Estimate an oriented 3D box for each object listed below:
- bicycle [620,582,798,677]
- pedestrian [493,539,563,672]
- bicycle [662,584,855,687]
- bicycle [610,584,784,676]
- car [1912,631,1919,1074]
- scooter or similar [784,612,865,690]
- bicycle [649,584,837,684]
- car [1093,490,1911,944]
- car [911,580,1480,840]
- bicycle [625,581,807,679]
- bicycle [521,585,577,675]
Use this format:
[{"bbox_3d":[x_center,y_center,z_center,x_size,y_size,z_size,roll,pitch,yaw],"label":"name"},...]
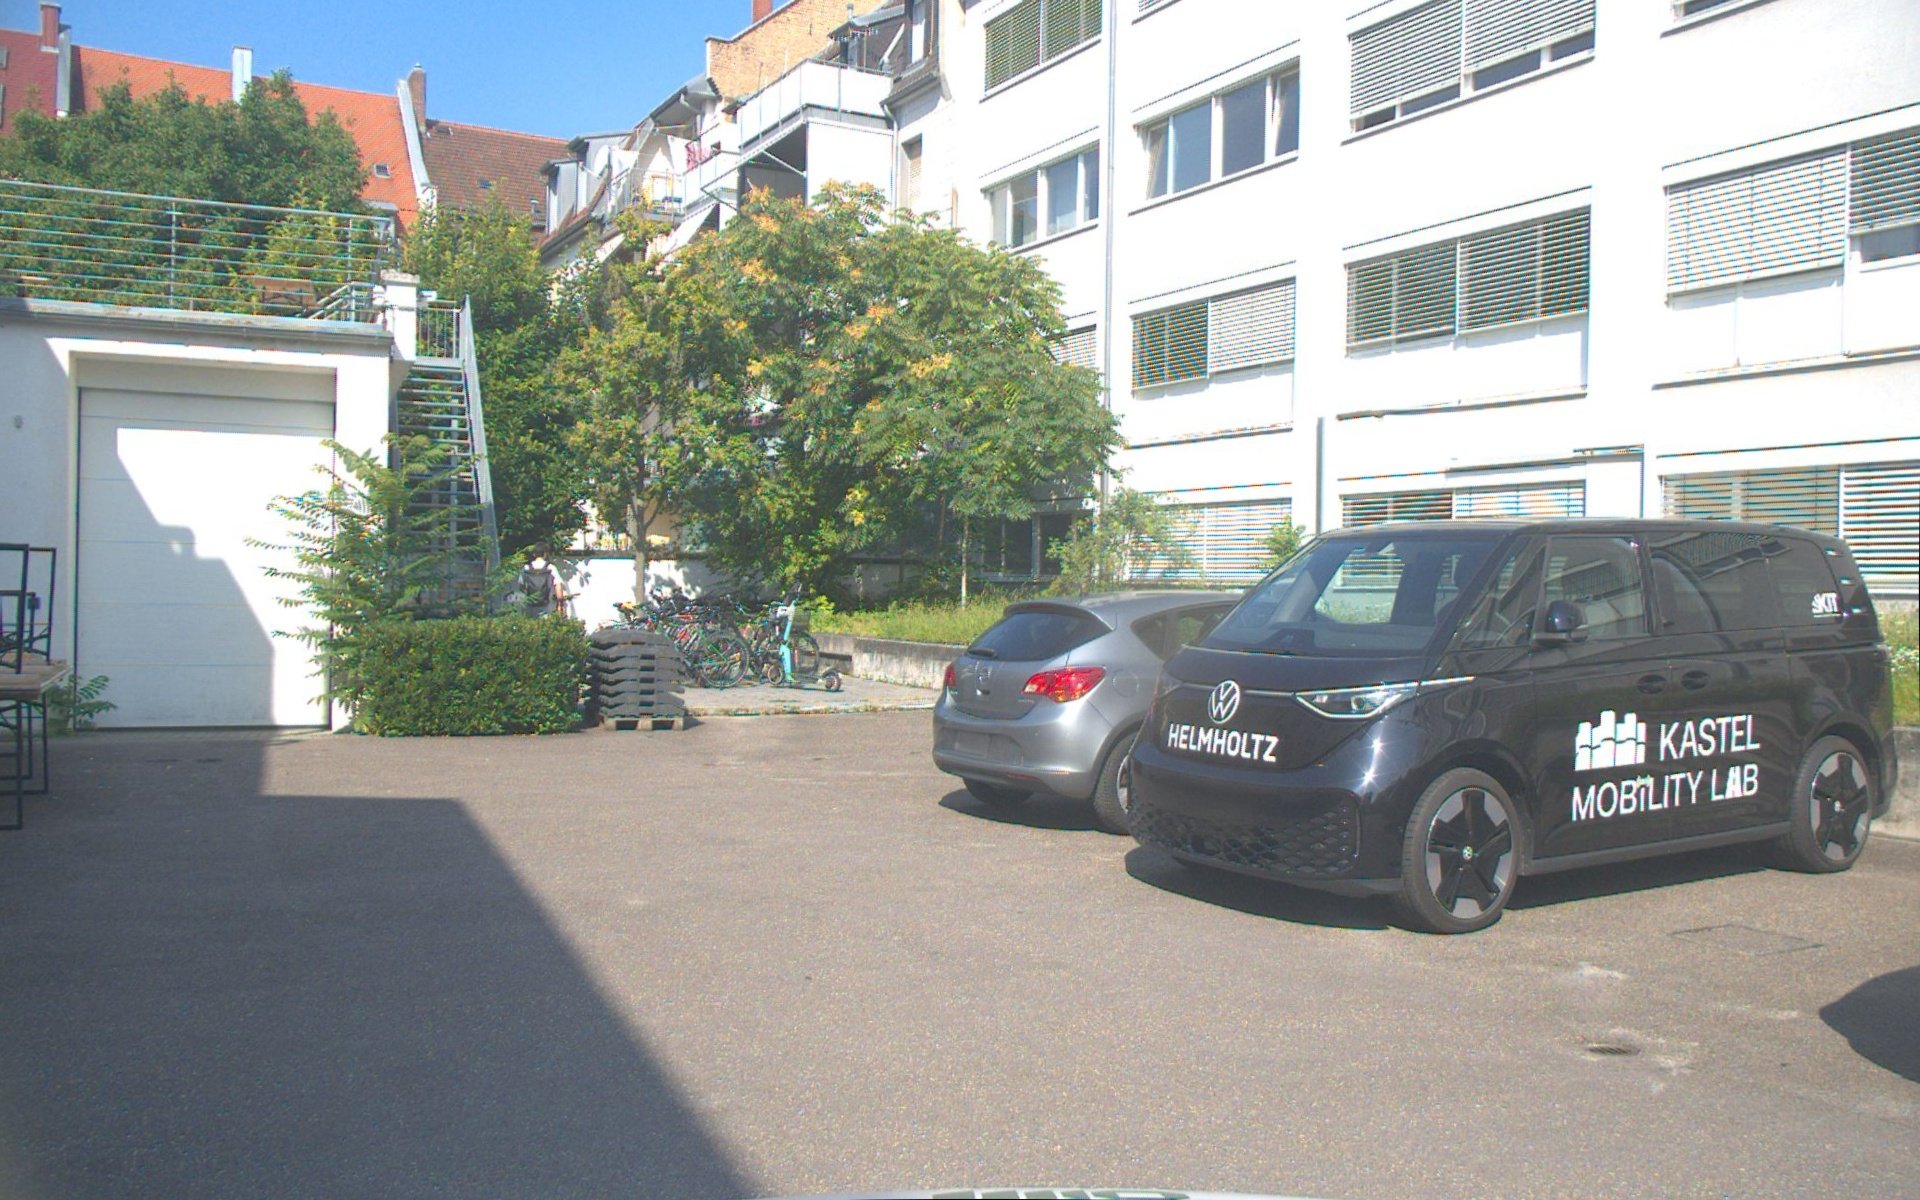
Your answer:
[{"bbox_3d":[-3.484,0.417,23.067,2.378,1.268,0.523,1,0,-23],"label":"bicycle"},{"bbox_3d":[-6.002,0.079,22.978,0.846,1.802,0.607,1,0,-21],"label":"pedestrian"},{"bbox_3d":[-2.563,0.459,21.156,2.378,1.268,0.523,1,0,-23],"label":"bicycle"},{"bbox_3d":[-3.751,0.432,23.683,2.378,1.268,0.523,1,0,-23],"label":"bicycle"},{"bbox_3d":[5.141,0.732,5.149,4.178,1.462,1.678,0,1,-25],"label":"car"},{"bbox_3d":[-1.731,0.636,21.048,0.978,0.940,0.359,2,0,30],"label":"scooter or similar"},{"bbox_3d":[-2.842,0.458,21.773,2.378,1.268,0.523,1,0,-23],"label":"bicycle"},{"bbox_3d":[2.994,0.465,8.869,4.294,1.891,1.894,0,1,-33],"label":"car"},{"bbox_3d":[1.708,0.628,11.434,3.866,1.491,1.642,0,1,-36],"label":"car"},{"bbox_3d":[-3.302,0.414,22.480,2.378,1.268,0.523,1,0,-23],"label":"bicycle"},{"bbox_3d":[-5.733,0.391,23.013,0.481,1.163,1.981,0,2,-22],"label":"bicycle"}]
